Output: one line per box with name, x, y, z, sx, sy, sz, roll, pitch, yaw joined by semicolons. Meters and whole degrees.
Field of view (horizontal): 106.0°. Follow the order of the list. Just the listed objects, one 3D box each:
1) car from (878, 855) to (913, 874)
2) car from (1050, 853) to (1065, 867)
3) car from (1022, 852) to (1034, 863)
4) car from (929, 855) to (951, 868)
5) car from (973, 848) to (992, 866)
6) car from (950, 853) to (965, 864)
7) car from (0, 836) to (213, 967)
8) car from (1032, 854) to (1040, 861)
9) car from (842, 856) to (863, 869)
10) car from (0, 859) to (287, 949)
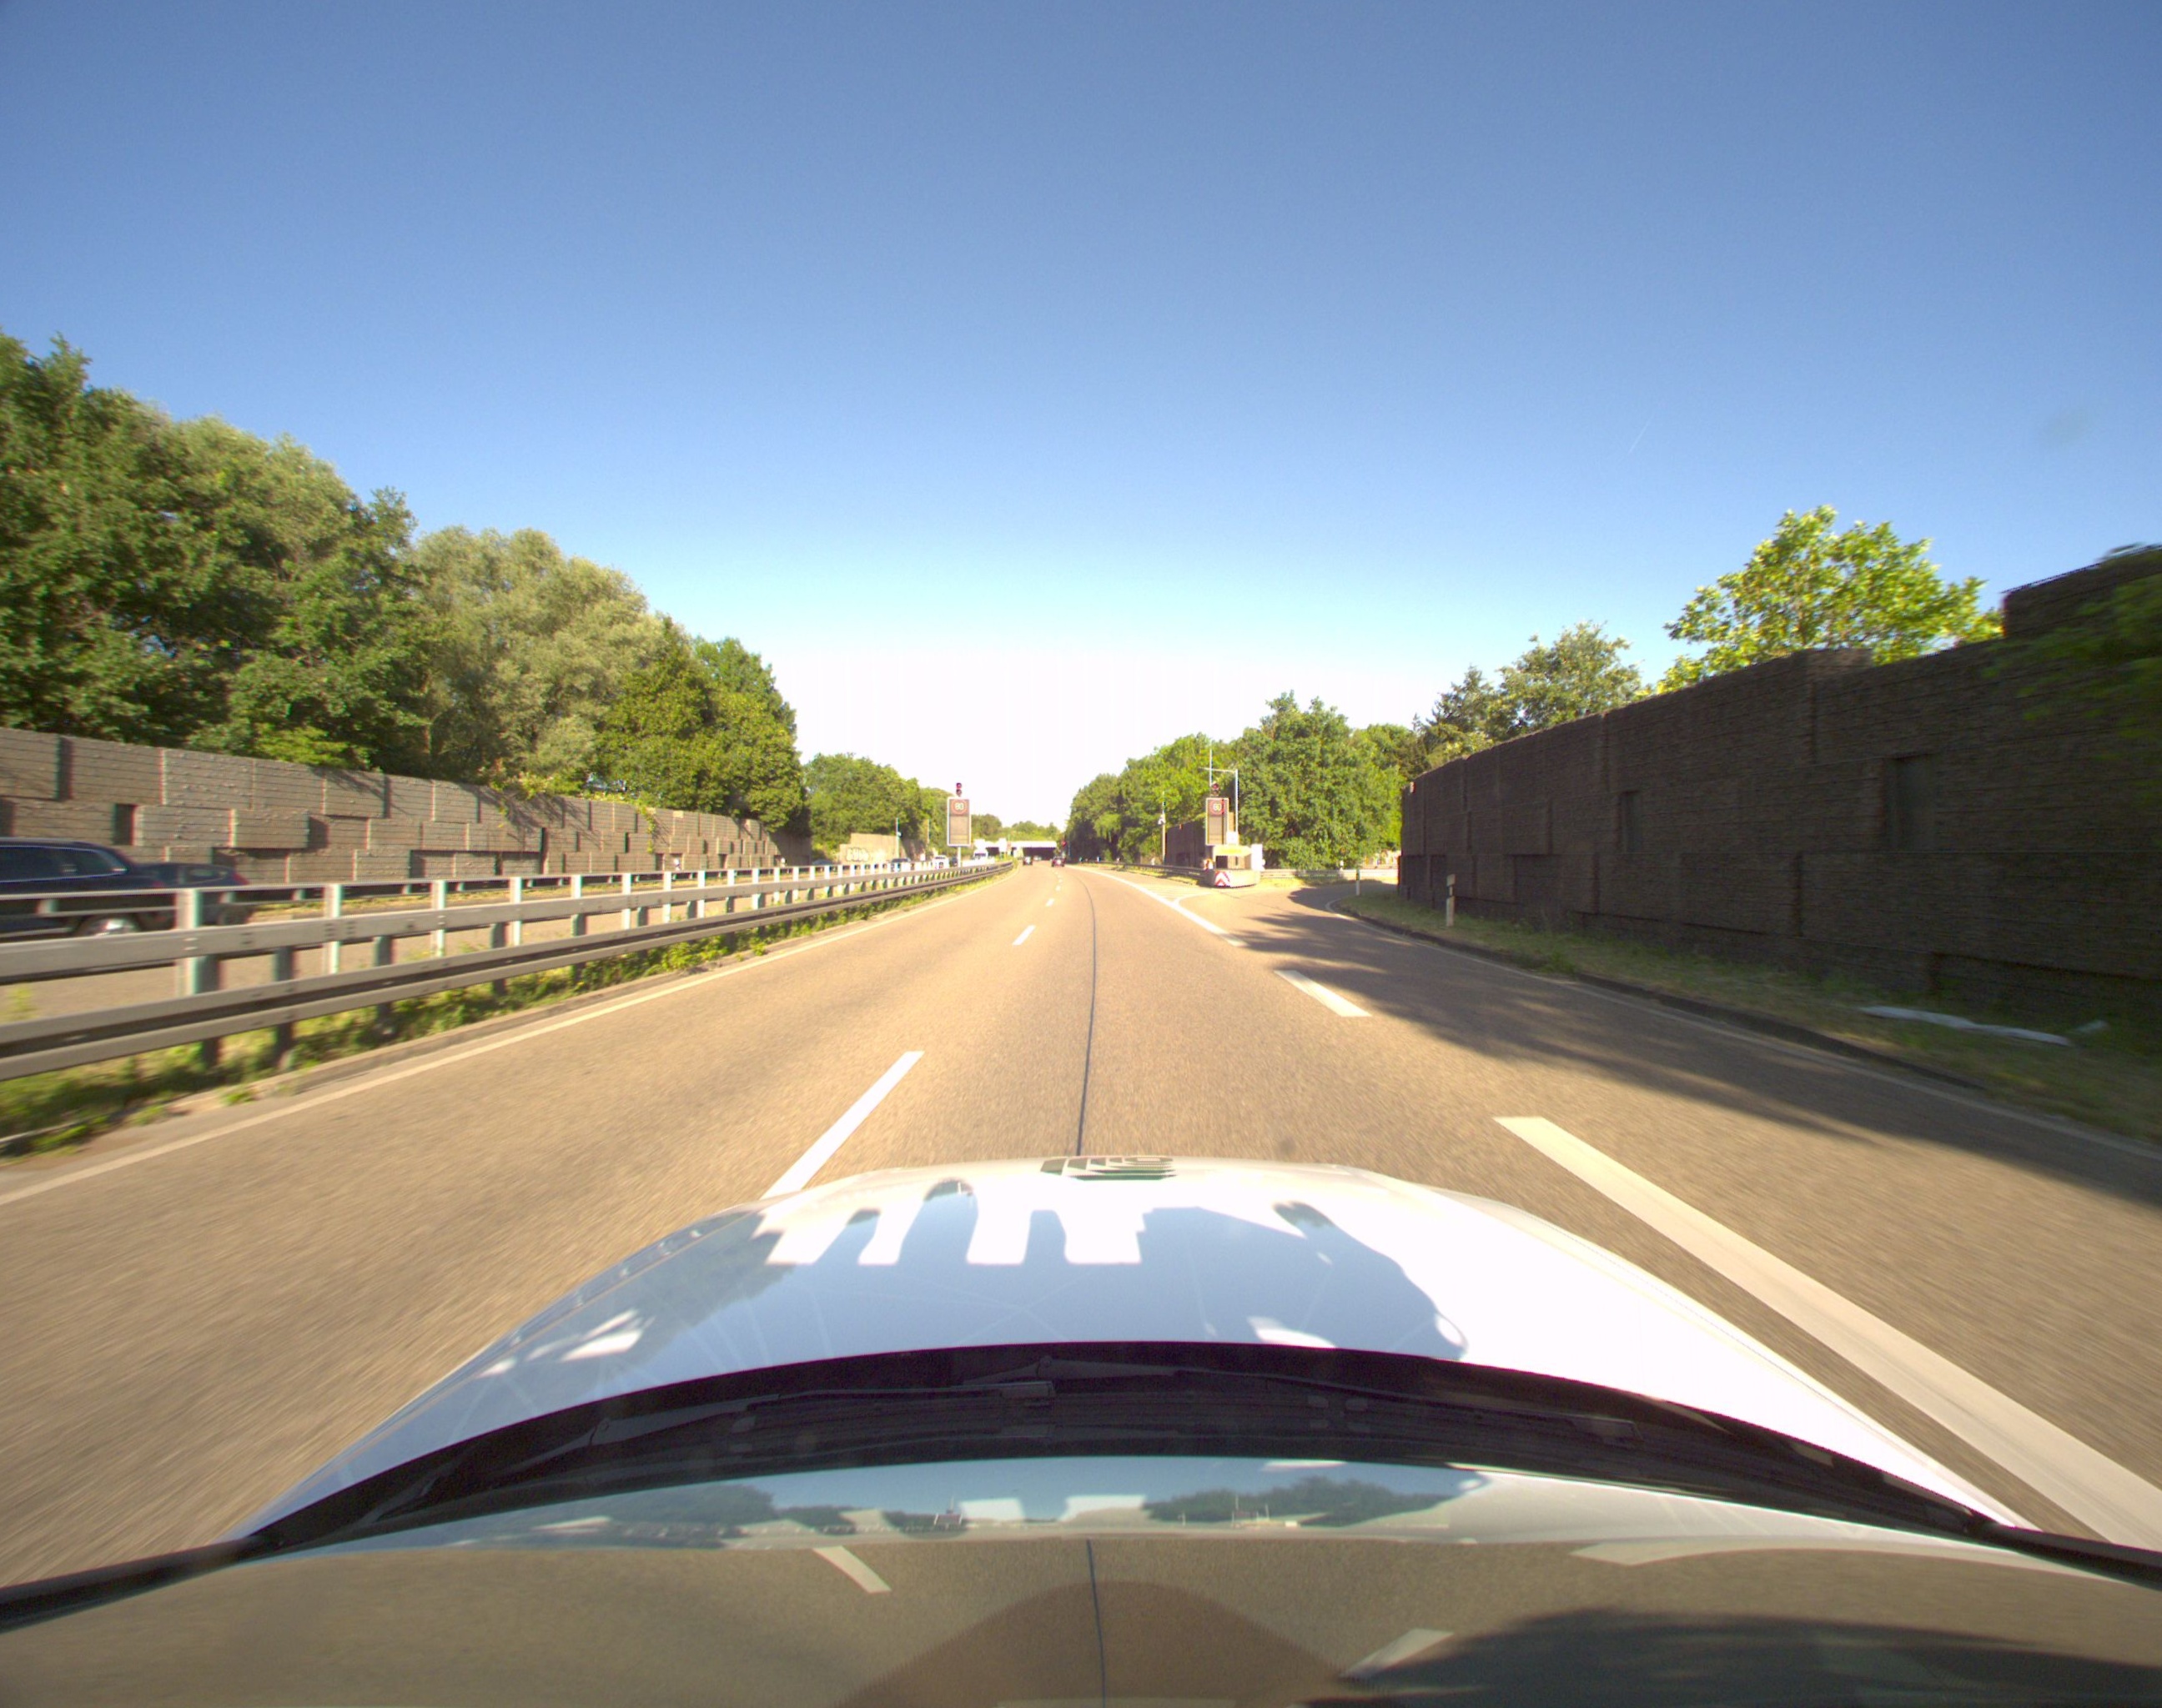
car;-15.909;0.888;70.074;1.988;1.480;4.532;2;0;-1
car;-3.498;0.845;119.981;1.990;1.925;3.993;1;0;-5
car;-9.325;0.551;142.864;1.990;1.925;3.993;1;0;-5
car;-17.693;0.918;102.251;1.988;1.596;4.619;2;0;-1
car;-14.906;0.405;123.210;2.115;2.683;6.585;2;0;-1
car;-19.389;0.706;128.042;1.897;1.620;4.692;2;0;-3
car;-14.266;0.574;10.019;1.890;1.574;4.810;2;0;2
car;-13.801;1.122;249.496;1.991;1.925;3.992;1;0;-6
car;-26.918;0.937;95.945;1.994;1.388;4.015;2;0;-10
car;-18.227;0.852;15.575;1.890;1.421;4.136;-1;0;2
